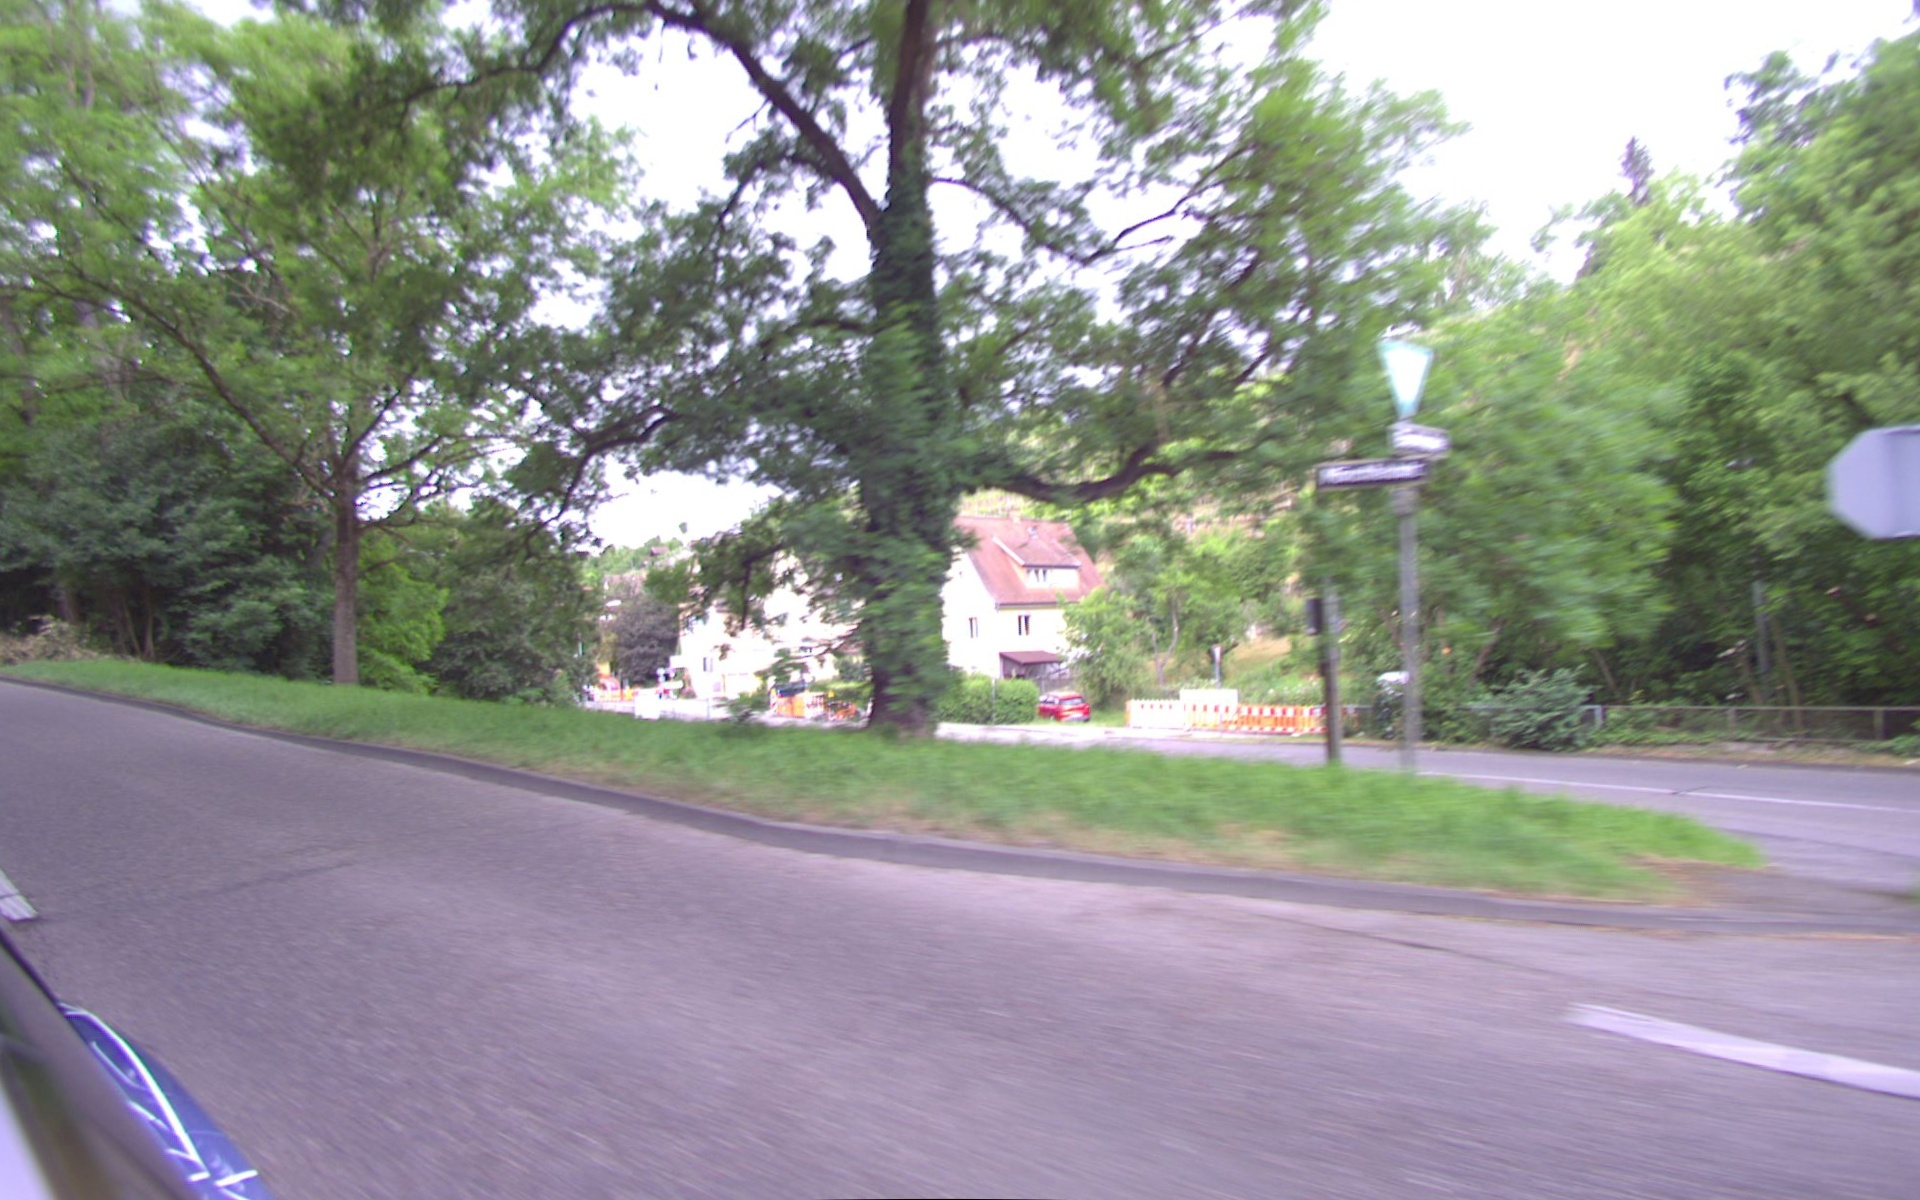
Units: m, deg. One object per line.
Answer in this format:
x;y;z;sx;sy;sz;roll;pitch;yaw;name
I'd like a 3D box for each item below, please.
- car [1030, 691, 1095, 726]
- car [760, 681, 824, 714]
4.569;4.882;45.683;1.728;1.400;4.009;4;-6;-12;car
-11.205;6.475;67.477;3.786;1.896;1.724;-1;-2;-36;car
